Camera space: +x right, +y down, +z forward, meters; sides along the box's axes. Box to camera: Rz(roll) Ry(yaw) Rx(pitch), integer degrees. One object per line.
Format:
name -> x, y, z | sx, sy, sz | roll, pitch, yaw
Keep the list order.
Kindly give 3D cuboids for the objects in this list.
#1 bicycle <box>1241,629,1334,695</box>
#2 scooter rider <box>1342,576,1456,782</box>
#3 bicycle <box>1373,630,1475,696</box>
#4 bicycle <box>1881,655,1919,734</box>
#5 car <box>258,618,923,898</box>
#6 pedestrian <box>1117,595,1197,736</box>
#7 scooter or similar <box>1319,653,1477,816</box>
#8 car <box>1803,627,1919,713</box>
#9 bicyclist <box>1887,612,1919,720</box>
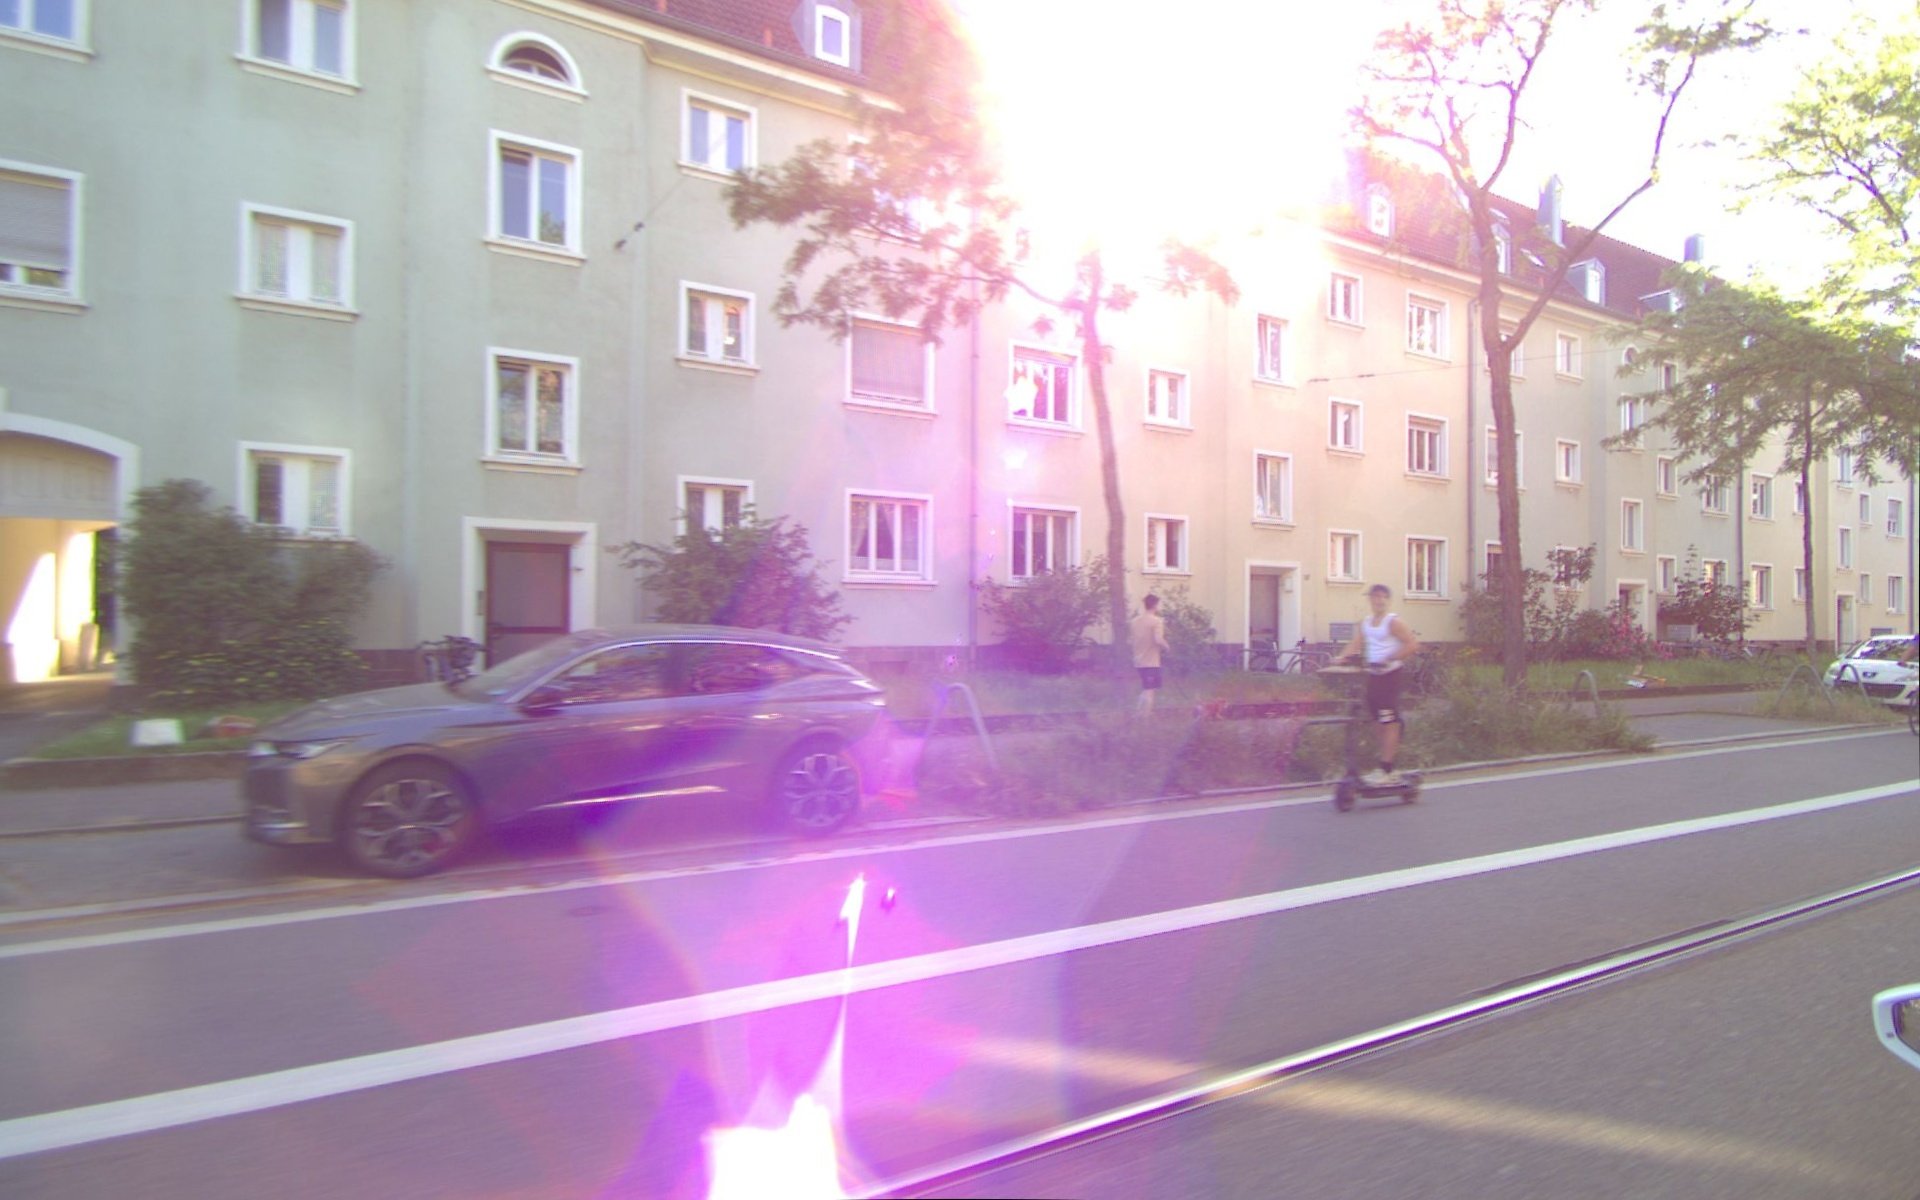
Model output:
bicycle -> 6.646, 1.233, 20.489 | 0.516, 1.193, 1.896 | 1, 1, -31
scooter rider -> 3.843, 0.679, 8.809 | 0.777, 1.721, 0.494 | 1, -4, -30
bicycle -> 9.426, 1.259, 20.478 | 0.516, 1.193, 1.896 | 1, 1, -31
bicycle -> 15.348, 1.464, 15.862 | 1.891, 1.193, 0.624 | 1, -4, -30
car -> -2.533, 0.926, 7.408 | 4.157, 1.505, 1.808 | 1, 0, -30
pedestrian -> 2.637, 0.858, 13.466 | 0.804, 1.825, 0.688 | 1, -1, -30
scooter or similar -> 3.832, 1.130, 8.772 | 1.361, 1.314, 0.518 | 1, -4, -30
car -> 19.244, 1.369, 20.607 | 4.031, 1.505, 1.694 | 1, 2, -30
bicyclist -> 15.220, 1.033, 15.810 | 0.929, 1.660, 0.623 | 1, -3, -30
